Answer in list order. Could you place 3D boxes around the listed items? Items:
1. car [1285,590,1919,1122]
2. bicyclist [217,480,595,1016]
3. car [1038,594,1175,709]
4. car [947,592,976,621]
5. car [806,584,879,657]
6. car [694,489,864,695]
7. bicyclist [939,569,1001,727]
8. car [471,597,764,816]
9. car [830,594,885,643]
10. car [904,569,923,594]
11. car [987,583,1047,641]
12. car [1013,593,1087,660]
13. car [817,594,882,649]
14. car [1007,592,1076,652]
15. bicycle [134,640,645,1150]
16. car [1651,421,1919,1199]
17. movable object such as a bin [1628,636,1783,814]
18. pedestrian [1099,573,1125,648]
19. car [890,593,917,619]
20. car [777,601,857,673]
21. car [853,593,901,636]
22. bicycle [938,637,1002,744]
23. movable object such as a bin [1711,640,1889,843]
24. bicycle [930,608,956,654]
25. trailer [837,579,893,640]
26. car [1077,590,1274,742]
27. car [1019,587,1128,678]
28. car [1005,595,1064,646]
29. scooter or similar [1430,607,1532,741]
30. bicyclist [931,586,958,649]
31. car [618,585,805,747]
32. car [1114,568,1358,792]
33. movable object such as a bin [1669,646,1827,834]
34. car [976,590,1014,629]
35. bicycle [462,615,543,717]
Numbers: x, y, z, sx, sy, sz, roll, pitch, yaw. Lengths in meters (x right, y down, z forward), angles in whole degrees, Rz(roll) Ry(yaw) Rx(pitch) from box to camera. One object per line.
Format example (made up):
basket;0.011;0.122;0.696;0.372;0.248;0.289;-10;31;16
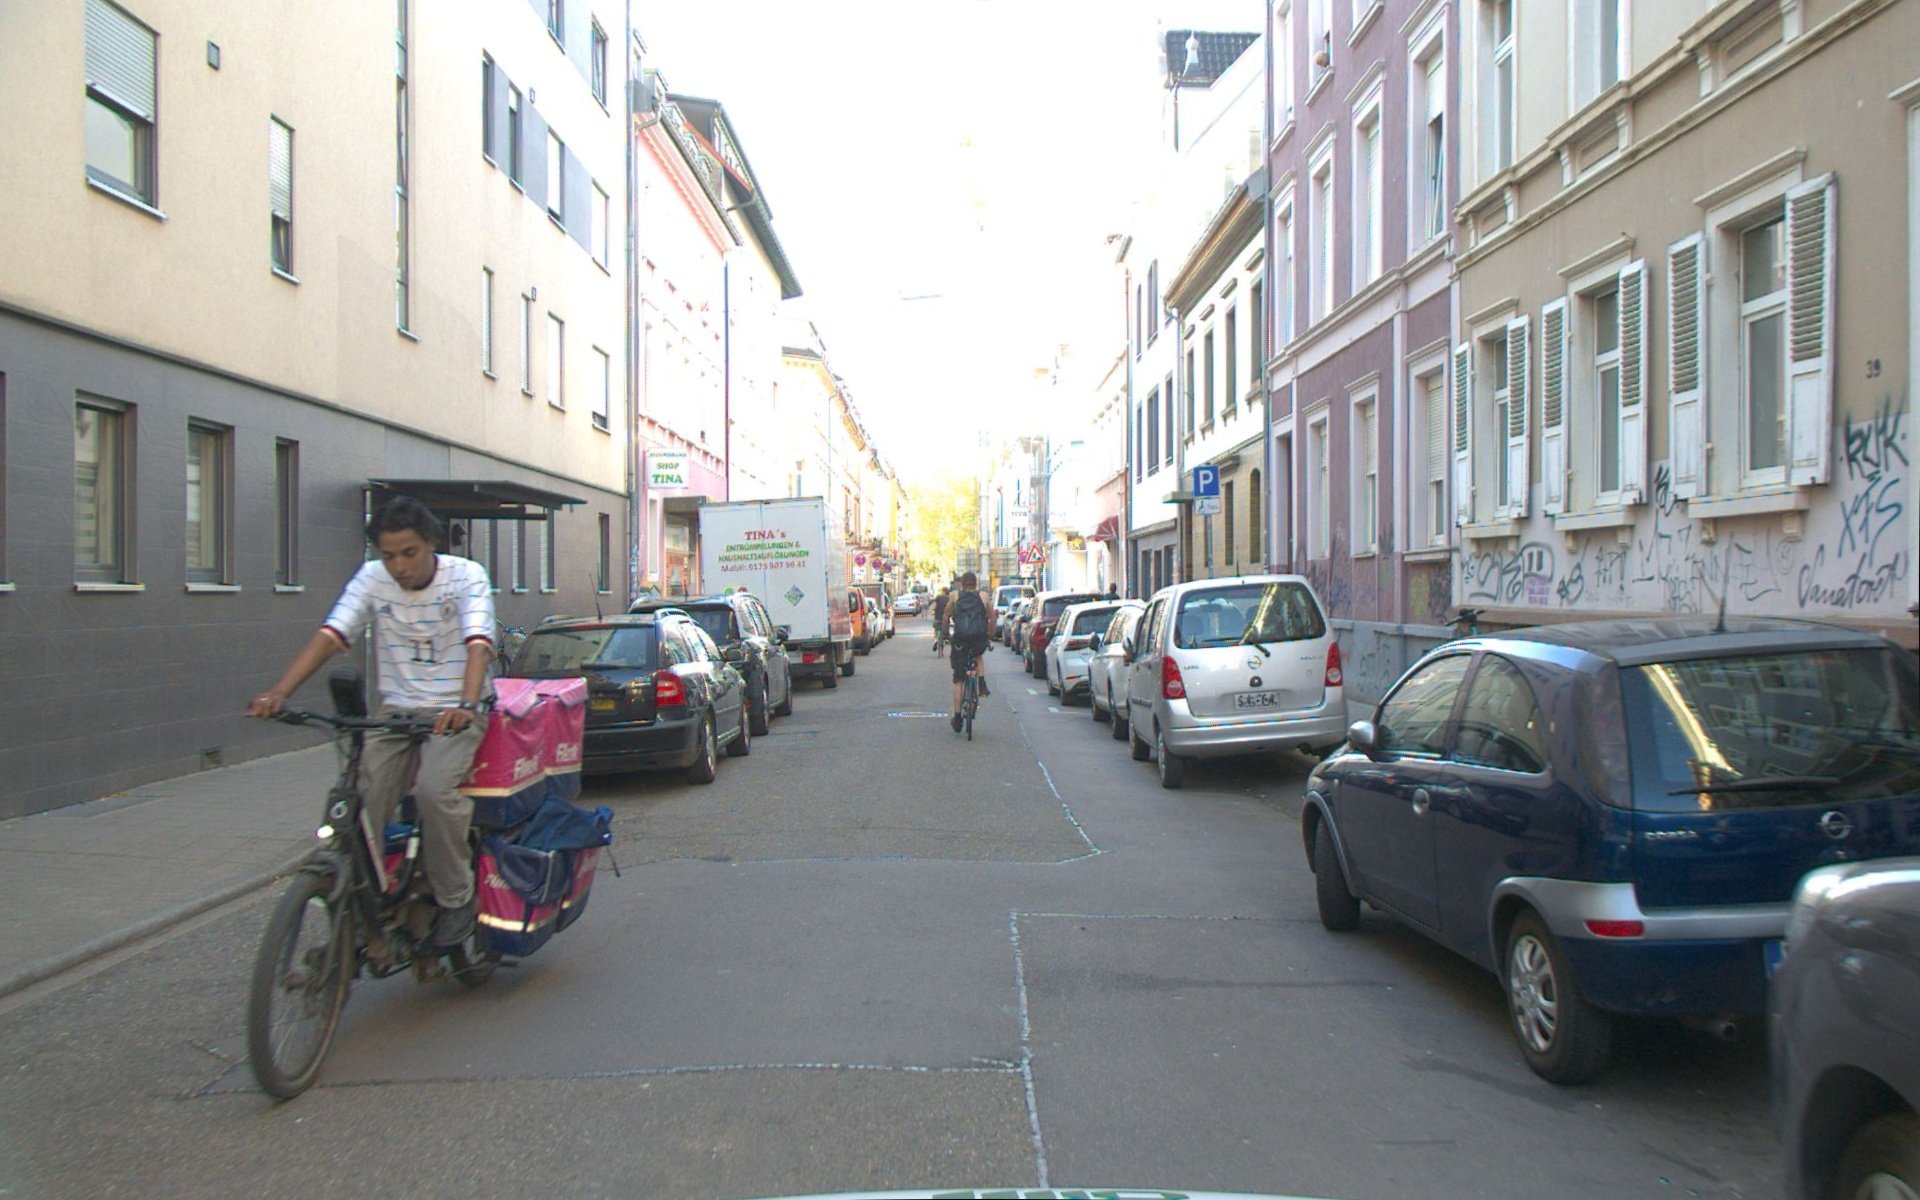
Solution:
car;2.511;0.761;6.640;1.521;1.537;3.609;1;0;-3
bicyclist;-1.857;0.464;5.706;0.931;1.656;0.953;-2;0;-1
car;2.188;0.747;25.714;1.652;1.570;4.045;-2;0;-1
car;0.065;0.358;90.981;1.578;1.587;3.609;1;0;-1
car;-3.180;0.546;45.373;1.717;1.848;4.077;-2;0;-1
car;-3.228;-0.117;31.168;2.296;3.349;7.154;-2;0;0
bicyclist;0.101;0.522;18.442;0.654;1.706;1.097;1;-1;-1
car;-2.862;0.801;14.783;1.682;1.504;4.498;-3;1;-1
car;-3.432;0.630;55.897;1.620;1.564;3.633;-1;0;-1
car;-4.526;-1.801;160.330;1.714;2.358;3.795;-1;0;-1
car;1.948;0.422;57.394;1.715;1.911;3.970;-1;0;-3
car;2.230;0.643;41.884;1.633;1.531;3.816;-3;0;0
car;-3.359;0.646;50.886;1.714;1.564;4.318;-1;0;-1
car;2.251;0.603;46.415;1.613;1.500;3.970;-4;0;-1
bicycle;-1.861;0.867;5.970;0.957;1.337;2.555;-2;0;-1
car;2.605;0.607;1.784;1.860;1.825;4.314;1;0;-1
movable object such as a bin;4.922;0.813;10.950;0.737;1.107;0.559;-2;0;-1
pedestrian;4.218;0.293;45.850;0.631;2.049;0.763;1;-1;-1
car;-3.864;0.414;113.814;1.714;1.713;3.795;-1;0;-1
car;-3.307;0.840;38.776;1.546;1.509;3.564;-3;0;-1
car;-3.233;0.551;64.883;1.714;1.600;3.795;-1;0;-1
bicycle;0.093;0.974;18.419;0.663;1.093;1.941;1;0;-1
movable object such as a bin;4.914;0.809;9.706;0.680;1.107;0.632;-2;0;-1
bicycle;-0.439;0.788;42.521;0.635;1.149;2.135;1;0;-1
trailer;-3.440;0.338;60.537;1.843;2.129;3.736;-1;0;-1
car;2.480;0.720;20.060;1.662;1.570;4.628;-2;0;-1
car;2.246;0.607;33.800;1.879;1.736;4.365;0;0;-1
car;2.315;0.642;52.334;1.714;1.513;3.800;-1;0;1
scooter or similar;4.974;0.683;15.859;0.441;1.203;1.368;-4;0;-1
bicyclist;-0.411;0.440;42.510;0.657;1.595;0.716;1;-1;-2
car;-2.966;0.714;20.554;1.682;1.679;4.245;-3;1;-1
car;2.337;0.639;14.778;1.525;1.742;3.558;1;0;-1
movable object such as a bin;4.923;0.860;10.361;0.680;1.107;0.559;-2;0;-1
car;1.560;0.432;74.742;1.578;1.662;3.609;1;0;-1
bicycle;-5.777;0.809;20.970;0.480;1.185;1.773;-2;0;0
